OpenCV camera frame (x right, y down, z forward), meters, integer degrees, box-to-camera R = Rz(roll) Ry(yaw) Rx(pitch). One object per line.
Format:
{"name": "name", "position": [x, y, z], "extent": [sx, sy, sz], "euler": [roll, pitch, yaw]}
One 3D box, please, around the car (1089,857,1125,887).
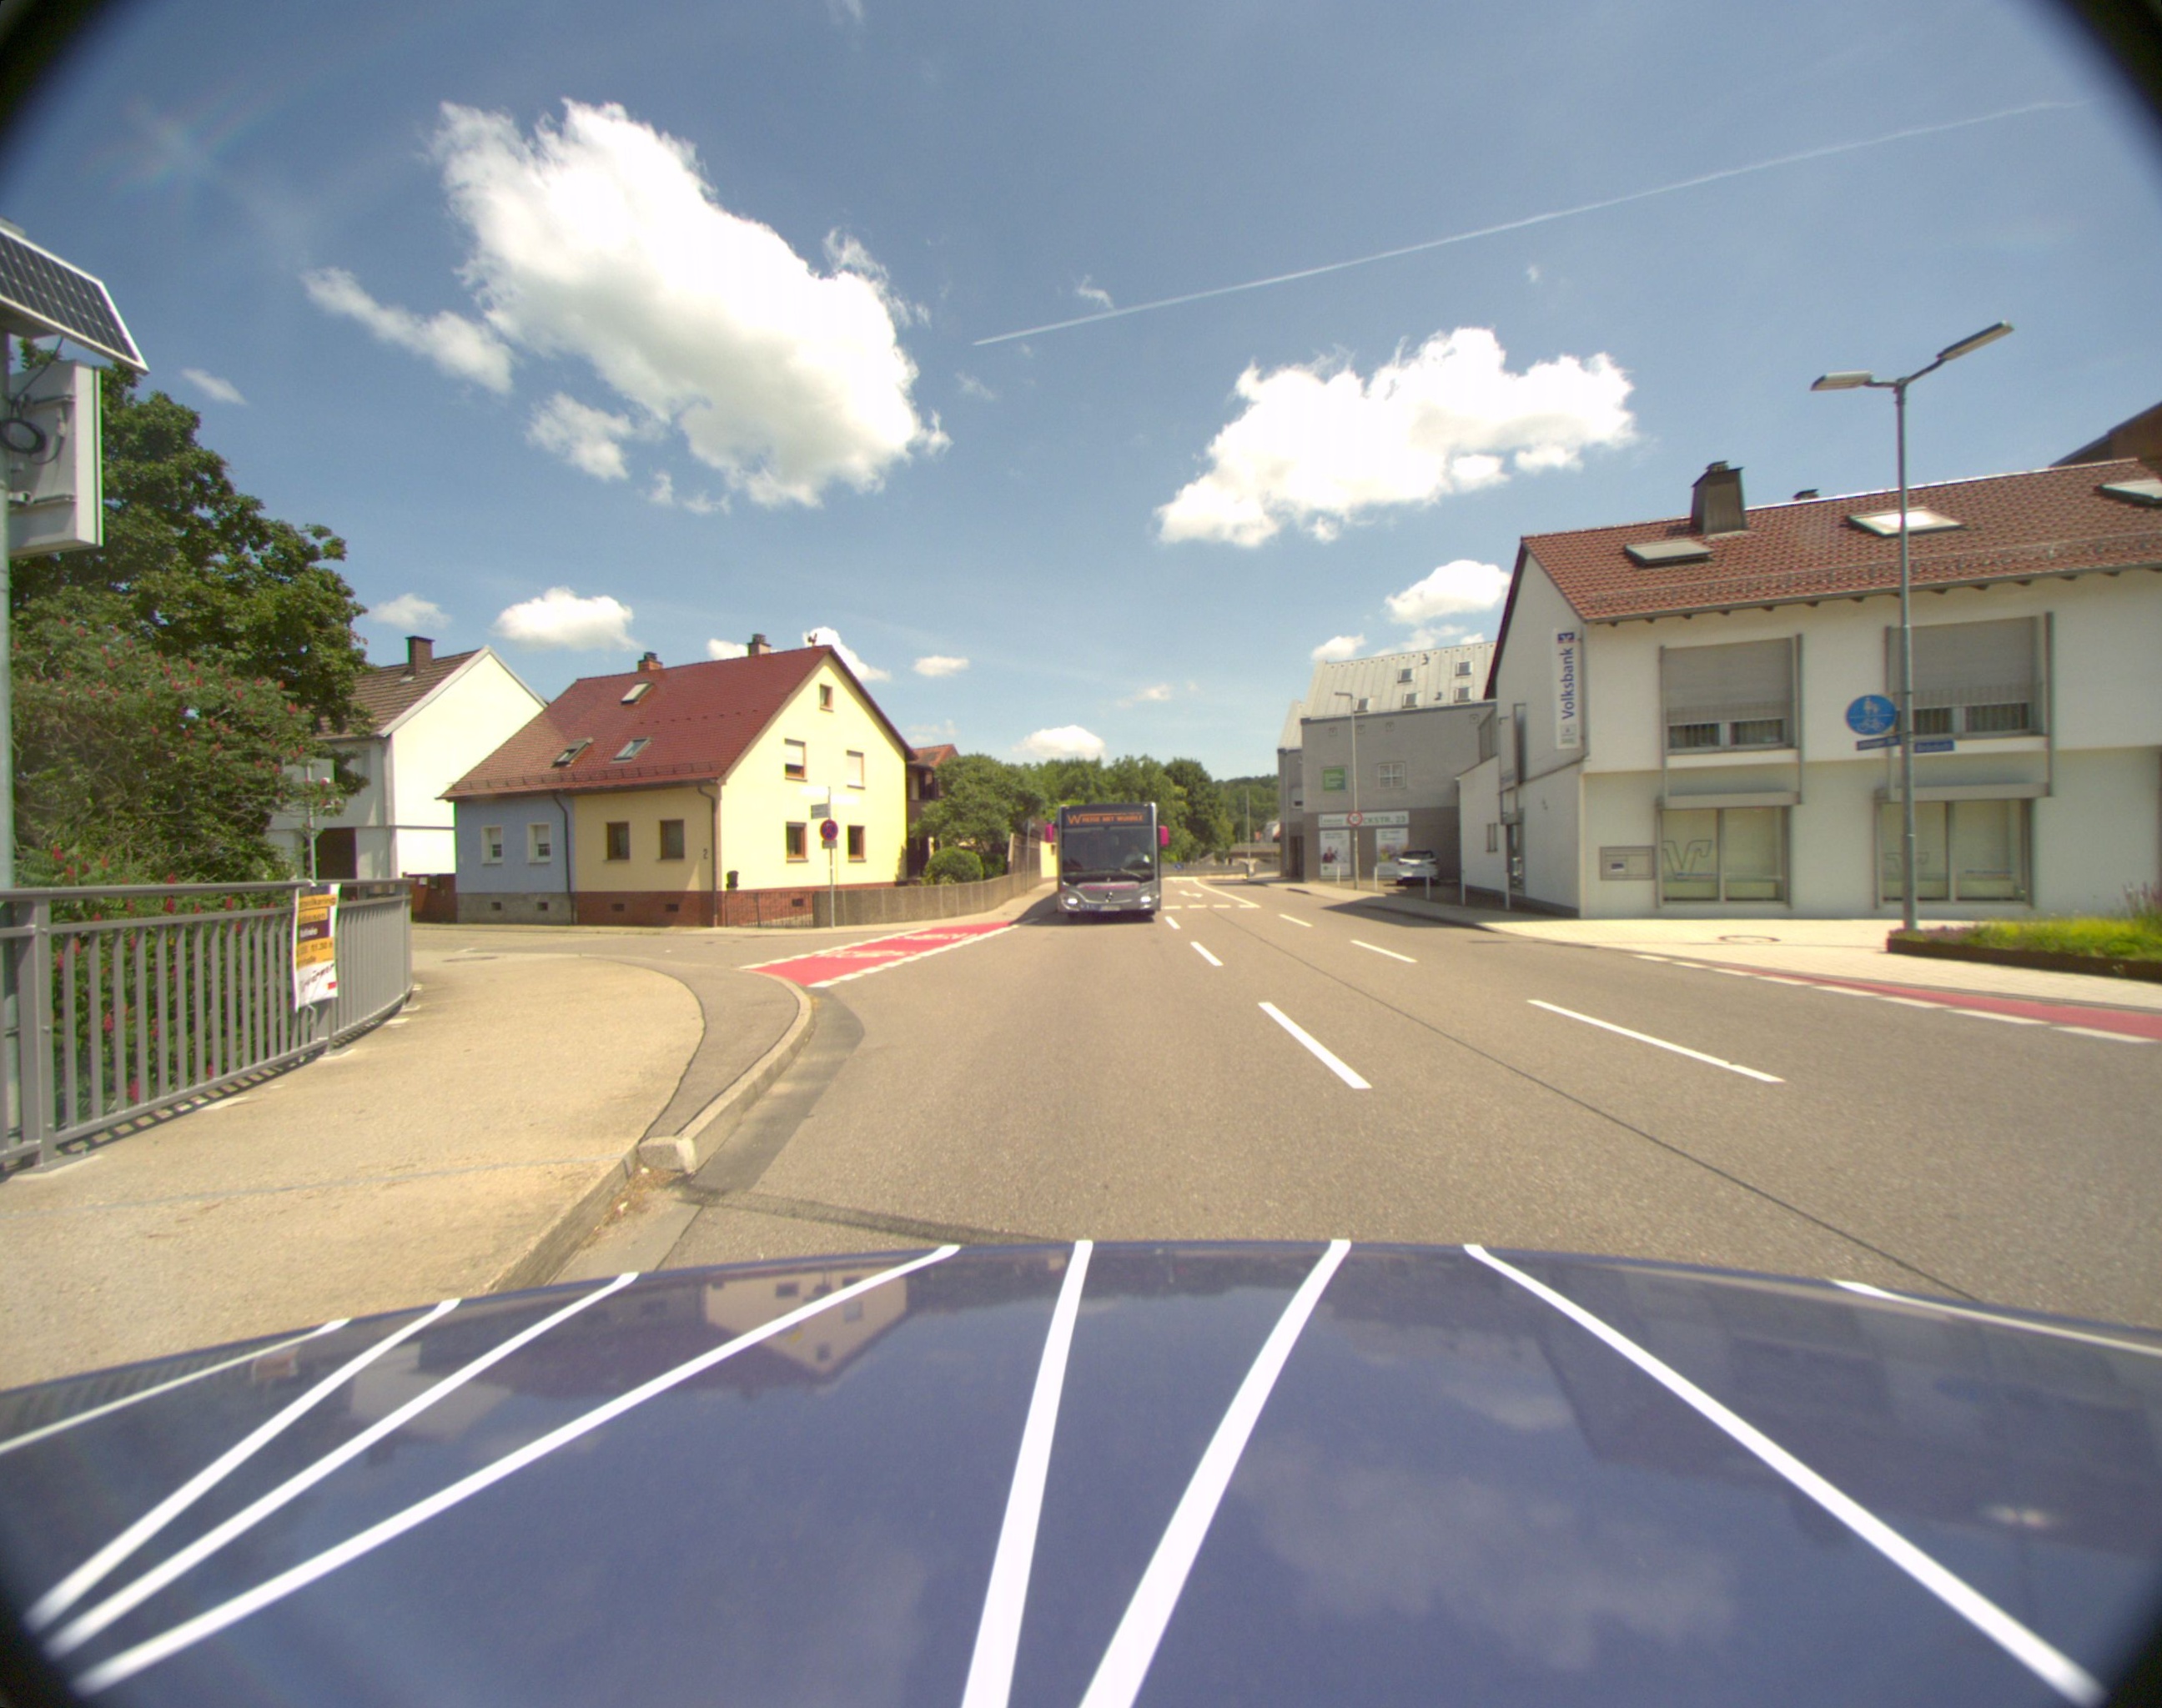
{"name": "car", "position": [1.372, 0.944, 41.660], "extent": [1.867, 1.434, 4.216], "euler": [0, 1, 1]}

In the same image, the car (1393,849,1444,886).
{"name": "car", "position": [15.340, 0.575, 34.534], "extent": [1.995, 1.565, 4.260], "euler": [0, 0, 24]}

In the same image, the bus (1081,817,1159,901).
{"name": "bus", "position": [1.686, 0.291, 31.490], "extent": [2.755, 2.949, 9.286], "euler": [0, -2, 4]}

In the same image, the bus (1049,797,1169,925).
{"name": "bus", "position": [1.006, 0.286, 22.152], "extent": [2.754, 2.949, 9.286], "euler": [0, -2, 5]}
